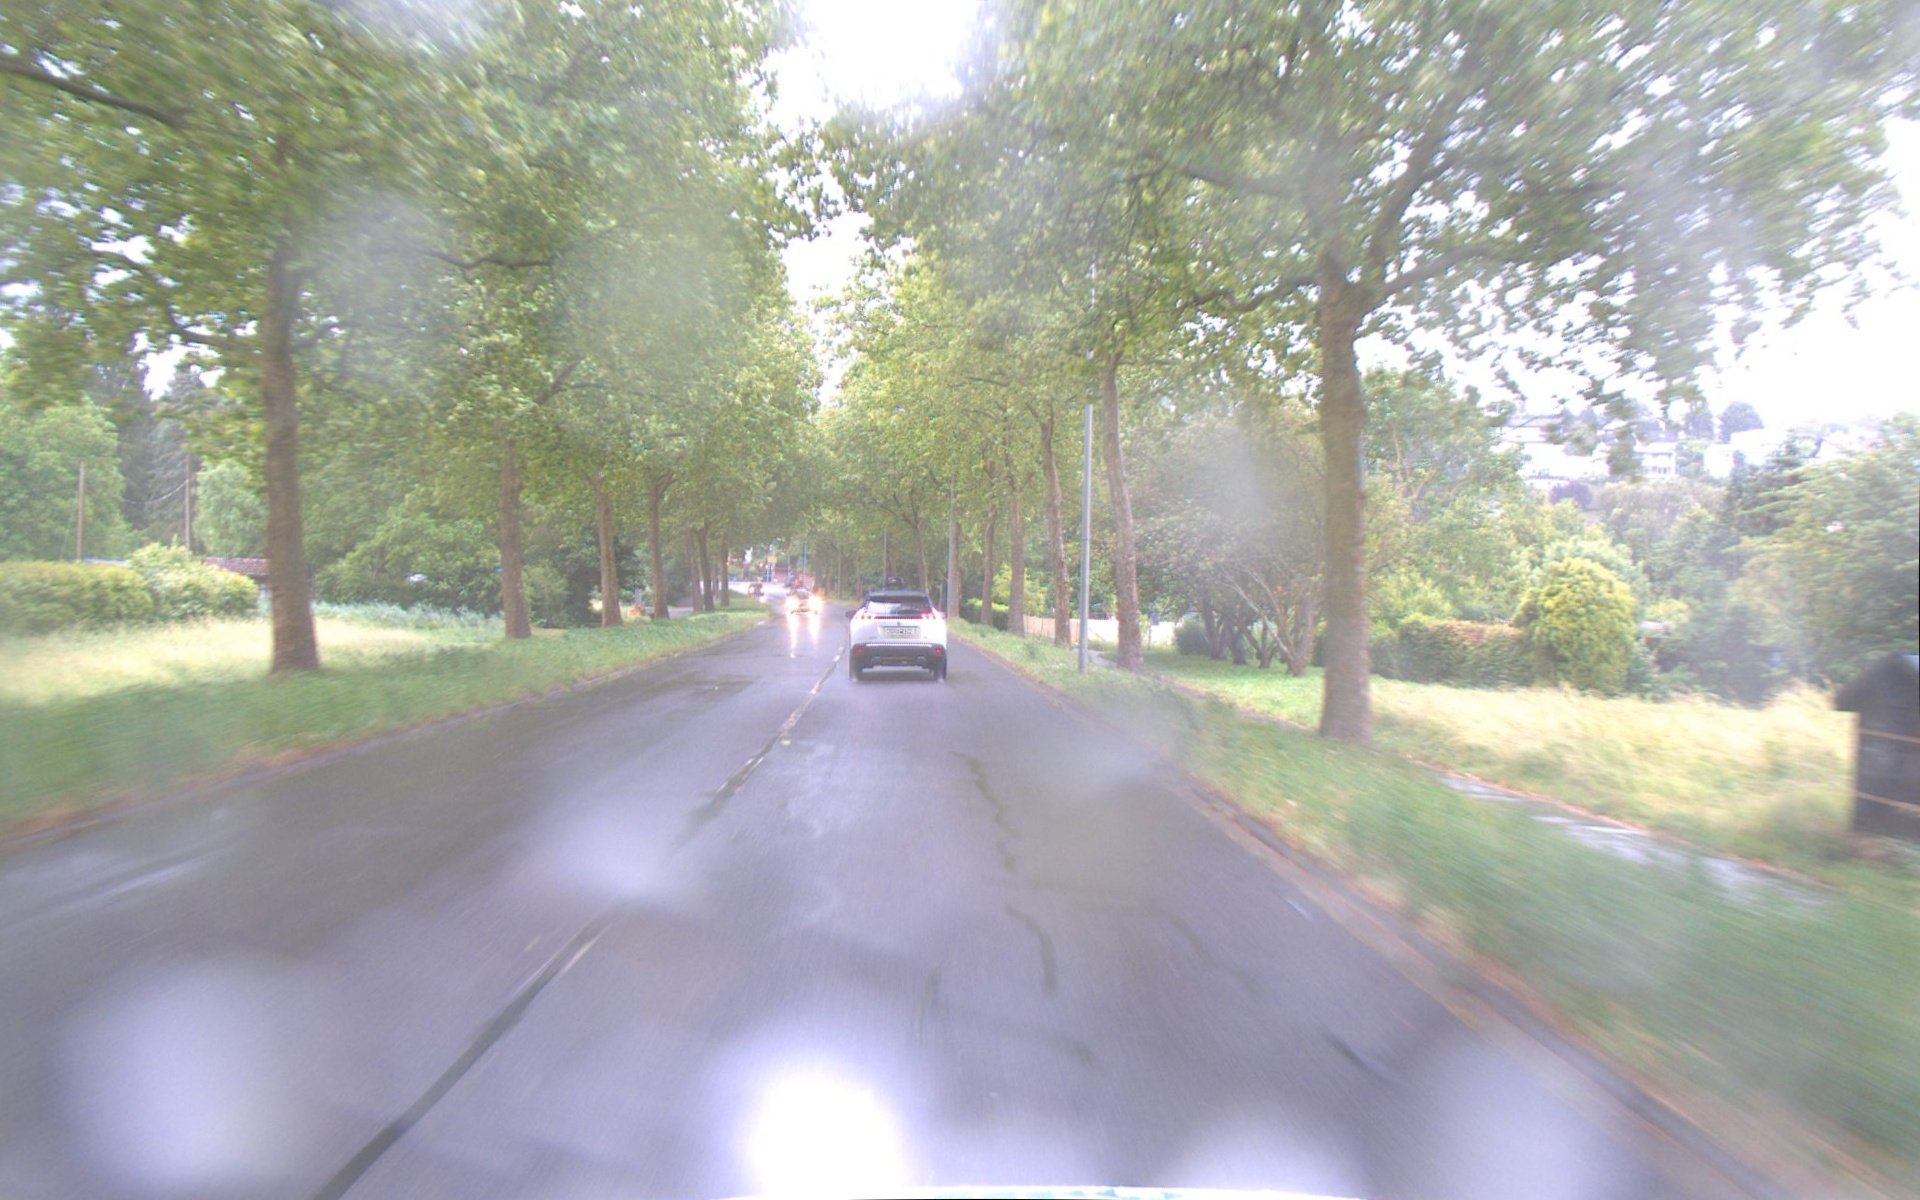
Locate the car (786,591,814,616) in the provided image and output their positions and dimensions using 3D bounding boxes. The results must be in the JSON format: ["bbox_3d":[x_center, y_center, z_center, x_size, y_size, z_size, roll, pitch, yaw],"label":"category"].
[{"bbox_3d":[-9.976,0.204,103.009,1.698,1.448,4.220,0,0,-5],"label":"car"}]

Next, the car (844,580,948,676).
[{"bbox_3d":[-1.233,0.461,30.473,1.758,1.606,3.841,1,1,-4],"label":"car"}]

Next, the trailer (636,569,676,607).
[{"bbox_3d":[-22.117,-0.886,120.620,2.437,2.612,5.325,1,0,-6],"label":"trailer"}]

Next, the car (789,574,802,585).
[{"bbox_3d":[-24.615,-3.038,248.118,1.791,1.624,3.650,1,0,-5],"label":"car"}]

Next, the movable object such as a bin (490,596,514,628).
[{"bbox_3d":[-21.678,0.568,78.267,0.944,1.447,0.965,1,0,-7],"label":"movable object such as a bin"}]
